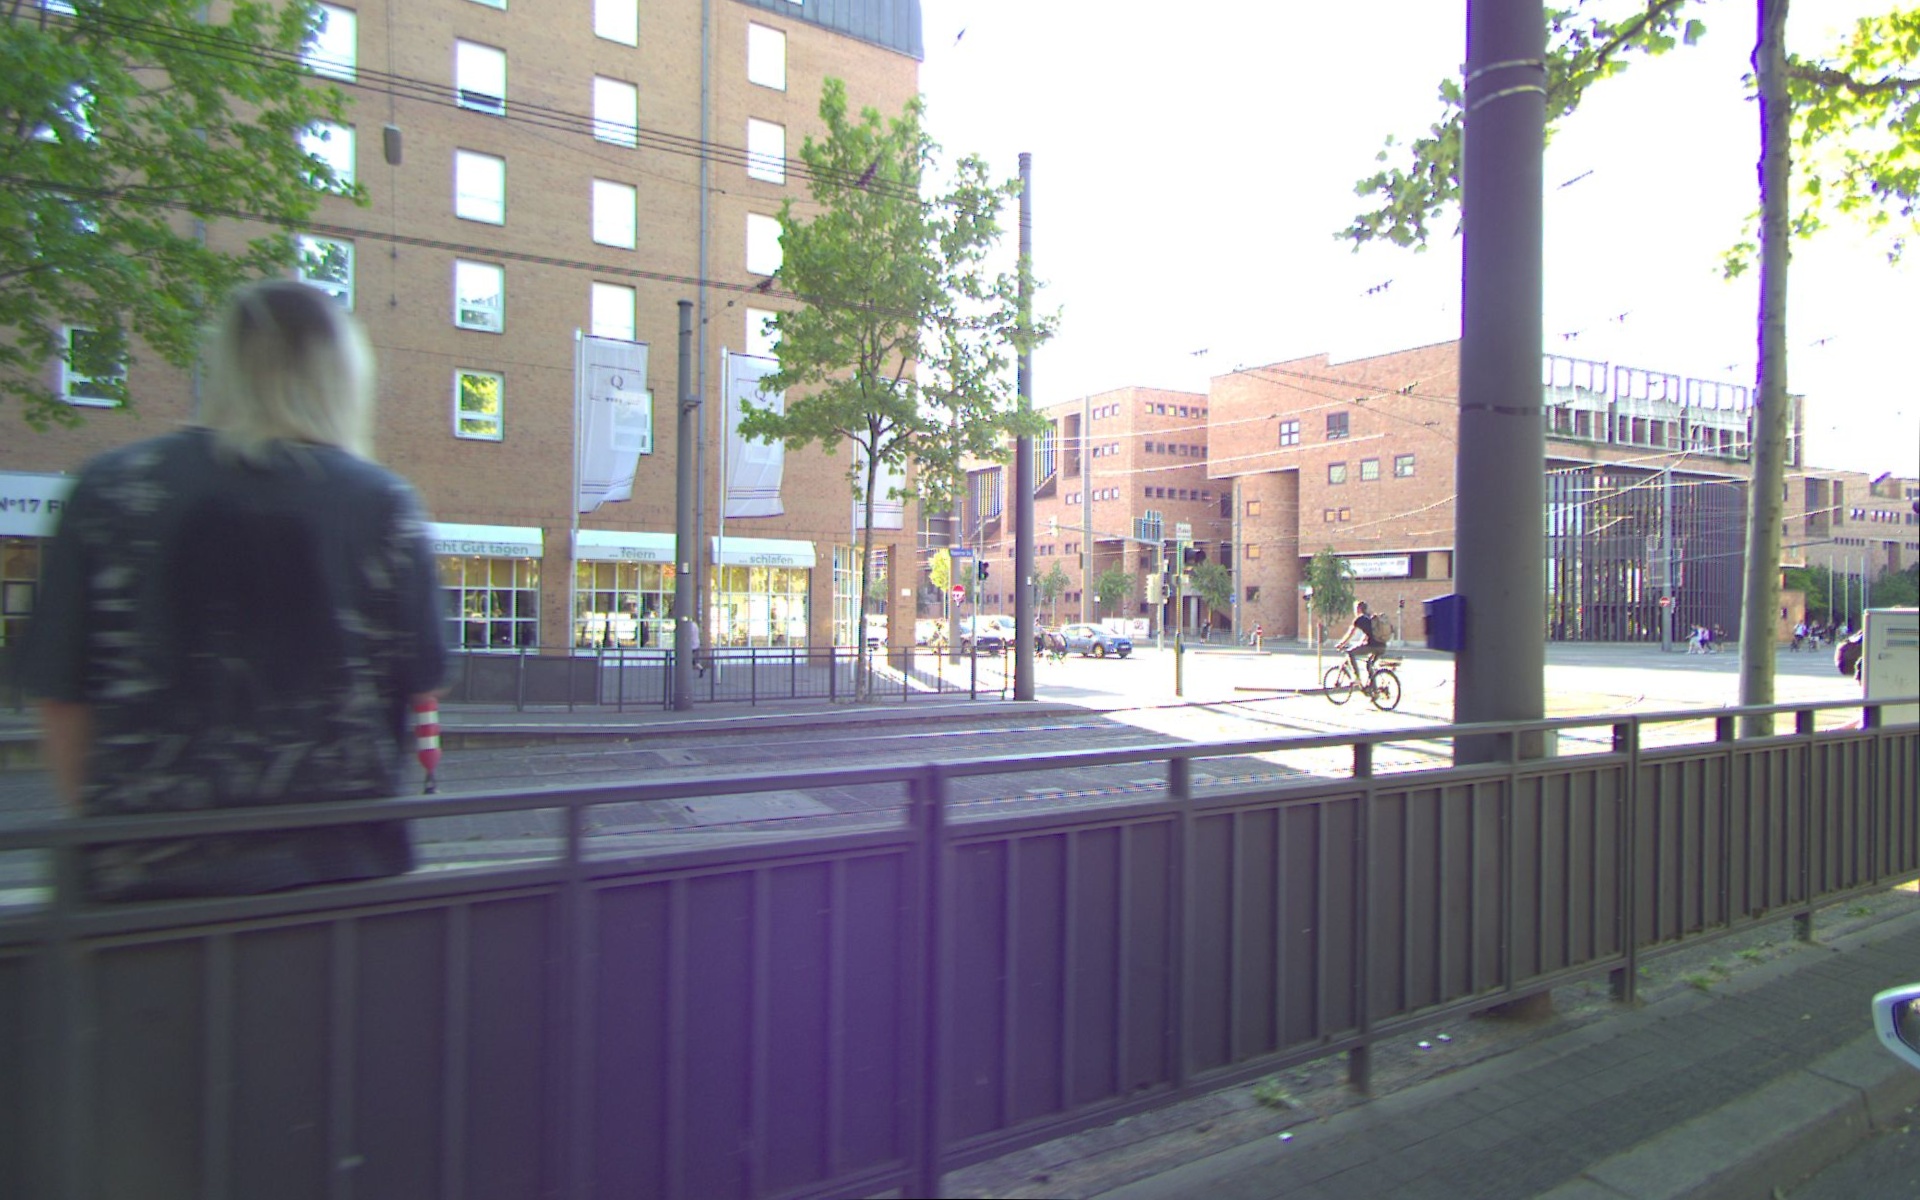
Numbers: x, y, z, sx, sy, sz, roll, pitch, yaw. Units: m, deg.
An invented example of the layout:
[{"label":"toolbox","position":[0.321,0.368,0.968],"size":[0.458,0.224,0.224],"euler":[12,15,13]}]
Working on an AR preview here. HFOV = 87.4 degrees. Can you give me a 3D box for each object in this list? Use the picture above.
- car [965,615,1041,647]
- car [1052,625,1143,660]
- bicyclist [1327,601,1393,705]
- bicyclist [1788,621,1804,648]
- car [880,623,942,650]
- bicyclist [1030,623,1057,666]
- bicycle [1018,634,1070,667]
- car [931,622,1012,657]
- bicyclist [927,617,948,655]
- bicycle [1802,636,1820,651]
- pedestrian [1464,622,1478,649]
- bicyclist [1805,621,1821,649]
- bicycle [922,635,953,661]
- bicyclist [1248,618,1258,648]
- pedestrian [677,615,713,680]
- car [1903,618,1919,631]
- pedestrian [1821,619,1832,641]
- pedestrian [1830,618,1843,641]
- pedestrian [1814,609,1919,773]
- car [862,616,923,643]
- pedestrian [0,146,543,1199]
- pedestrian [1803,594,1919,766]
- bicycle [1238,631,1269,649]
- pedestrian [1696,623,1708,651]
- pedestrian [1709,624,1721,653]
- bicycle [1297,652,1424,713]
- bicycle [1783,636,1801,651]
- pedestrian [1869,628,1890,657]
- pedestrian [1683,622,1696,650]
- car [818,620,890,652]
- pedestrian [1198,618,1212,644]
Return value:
[{"label":"car","position":[2.390,1.710,56.699],"size":[1.982,1.719,4.314],"euler":[1,-2,-37]},{"label":"car","position":[6.193,1.891,45.599],"size":[1.979,1.476,3.930],"euler":[1,-2,-34]},{"label":"bicyclist","position":[7.220,0.944,18.154],"size":[0.744,1.809,0.845],"euler":[1,-1,-33]},{"label":"bicyclist","position":[51.451,2.114,61.800],"size":[0.782,1.697,0.589],"euler":[1,-1,-37]},{"label":"car","position":[-2.860,2.078,58.276],"size":[1.807,1.453,3.882],"euler":[1,-1,-36]},{"label":"bicyclist","position":[3.351,1.800,40.501],"size":[0.683,1.703,0.899],"euler":[1,-1,-32]},{"label":"bicycle","position":[3.363,2.024,40.456],"size":[1.060,1.243,2.145],"euler":[0,0,-32]},{"label":"car","position":[0.508,1.890,48.855],"size":[1.806,1.604,4.455],"euler":[1,-1,-33]},{"label":"bicyclist","position":[-1.013,1.612,45.399],"size":[0.631,1.686,0.900],"euler":[1,-1,-28]},{"label":"bicycle","position":[51.939,2.651,61.328],"size":[1.823,0.893,0.508],"euler":[1,-1,-39]},{"label":"pedestrian","position":[31.417,2.163,61.738],"size":[0.560,1.635,0.545],"euler":[0,-1,0]},{"label":"bicyclist","position":[52.043,2.133,61.274],"size":[0.782,1.697,0.589],"euler":[1,-1,-37]},{"label":"bicycle","position":[-1.033,2.155,45.421],"size":[0.621,1.078,1.915],"euler":[1,-1,-28]},{"label":"bicyclist","position":[20.325,2.282,69.627],"size":[0.554,2.087,0.449],"euler":[-1,-1,42]},{"label":"pedestrian","position":[-6.741,1.195,25.520],"size":[0.717,1.606,0.586],"euler":[1,1,-32]},{"label":"car","position":[128.186,3.292,133.426],"size":[3.927,1.573,1.604],"euler":[2,0,29]},{"label":"pedestrian","position":[69.083,2.384,80.087],"size":[0.538,1.803,0.521],"euler":[1,-1,-24]},{"label":"pedestrian","position":[70.428,2.385,80.686],"size":[0.538,1.834,0.640],"euler":[1,-1,-24]},{"label":"pedestrian","position":[10.141,0.961,10.986],"size":[0.751,1.704,1.064],"euler":[1,0,-37]},{"label":"car","position":[-4.453,1.897,66.040],"size":[1.982,1.719,4.314],"euler":[1,-2,-37]},{"label":"pedestrian","position":[-1.162,0.369,1.696],"size":[0.751,1.925,0.507],"euler":[1,0,-30]},{"label":"pedestrian","position":[10.626,0.896,11.711],"size":[0.732,1.896,1.065],"euler":[1,0,-37]},{"label":"bicycle","position":[20.311,2.760,69.625],"size":[2.066,1.255,0.451],"euler":[-1,-2,42]},{"label":"pedestrian","position":[44.662,2.227,60.497],"size":[0.530,1.672,0.622],"euler":[-1,-1,41]},{"label":"pedestrian","position":[44.293,2.266,58.909],"size":[0.530,1.672,0.622],"euler":[-1,-1,41]},{"label":"bicycle","position":[7.202,1.458,18.191],"size":[0.661,0.946,2.165],"euler":[1,-1,-32]},{"label":"bicycle","position":[51.278,2.679,61.875],"size":[1.823,0.893,0.508],"euler":[1,-1,-39]},{"label":"pedestrian","position":[50.826,2.326,55.521],"size":[0.503,1.550,0.749],"euler":[1,0,-37]},{"label":"pedestrian","position":[42.959,2.118,59.145],"size":[0.530,1.672,0.622],"euler":[-1,-1,41]},{"label":"car","position":[-6.168,2.038,57.946],"size":[1.981,1.750,4.800],"euler":[1,-1,-36]},{"label":"pedestrian","position":[15.575,1.979,63.885],"size":[0.608,1.635,0.539],"euler":[-1,2,-36]}]
